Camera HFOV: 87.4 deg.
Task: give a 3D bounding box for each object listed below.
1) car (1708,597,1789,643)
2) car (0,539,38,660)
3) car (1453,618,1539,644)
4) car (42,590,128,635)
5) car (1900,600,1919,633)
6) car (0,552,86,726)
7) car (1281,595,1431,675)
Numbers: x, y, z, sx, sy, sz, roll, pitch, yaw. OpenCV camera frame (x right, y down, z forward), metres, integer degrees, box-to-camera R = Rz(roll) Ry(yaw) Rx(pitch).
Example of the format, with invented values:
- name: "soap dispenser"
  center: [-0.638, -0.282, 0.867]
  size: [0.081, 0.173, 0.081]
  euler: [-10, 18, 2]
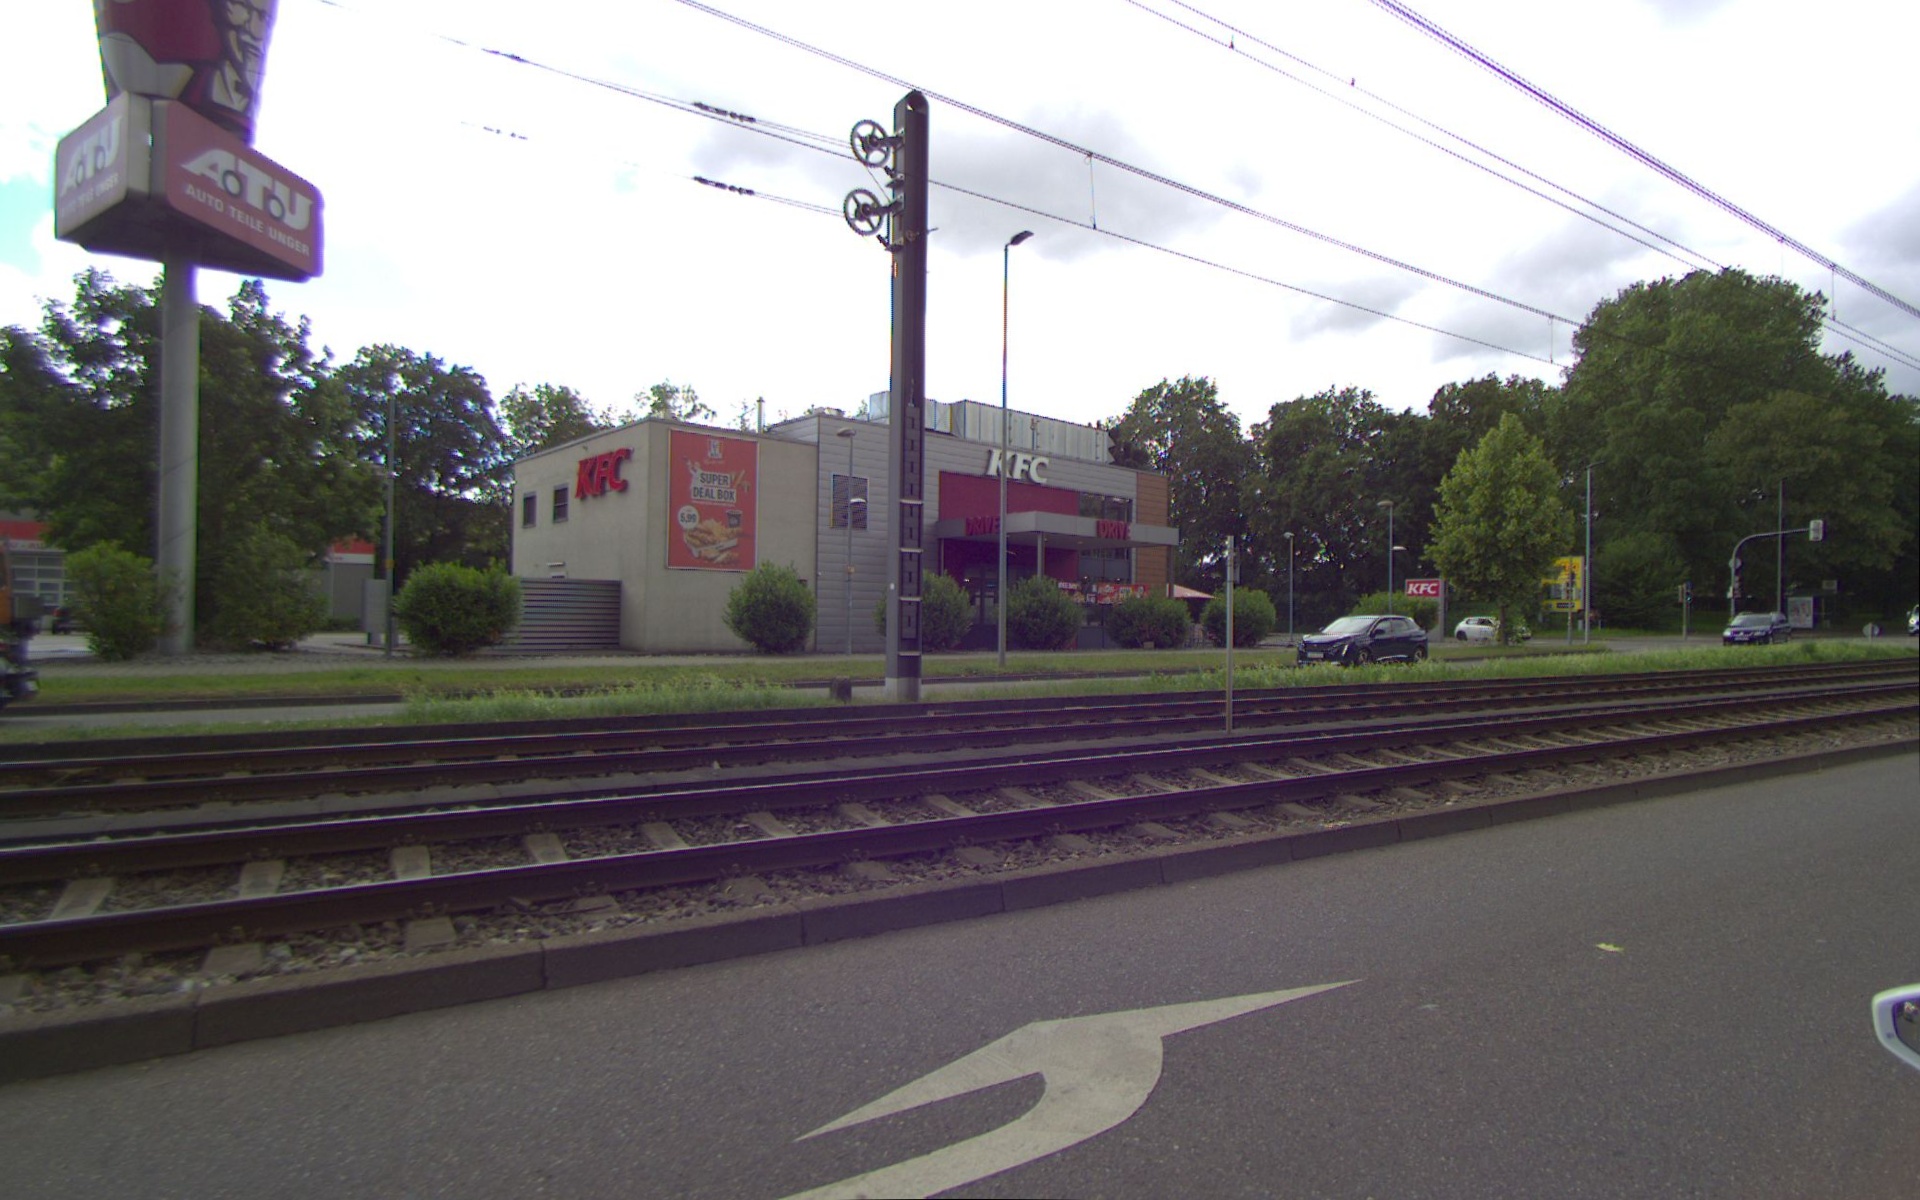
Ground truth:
- name: "car"
  center: [36.727, 0.925, 46.763]
  size: [4.067, 2.040, 1.980]
  euler: [1, -1, -36]
- name: "car"
  center: [-18.586, -0.044, 18.178]
  size: [2.036, 2.194, 3.965]
  euler: [1, 1, -32]
- name: "car"
  center: [30.012, 1.715, 56.339]
  size: [1.827, 1.426, 3.856]
  euler: [1, -1, -33]
- name: "car"
  center: [-35.605, 0.477, 40.991]
  size: [1.978, 1.614, 3.965]
  euler: [1, 1, -32]
- name: "car"
  center: [59.969, 1.044, 62.117]
  size: [4.842, 2.040, 1.979]
  euler: [1, -2, -38]
- name: "car"
  center: [-12.982, 0.464, 11.733]
  size: [3.961, 2.040, 1.980]
  euler: [1, -3, -36]
- name: "car"
  center: [11.031, 0.948, 27.897]
  size: [4.206, 2.040, 1.980]
  euler: [1, -1, -36]
